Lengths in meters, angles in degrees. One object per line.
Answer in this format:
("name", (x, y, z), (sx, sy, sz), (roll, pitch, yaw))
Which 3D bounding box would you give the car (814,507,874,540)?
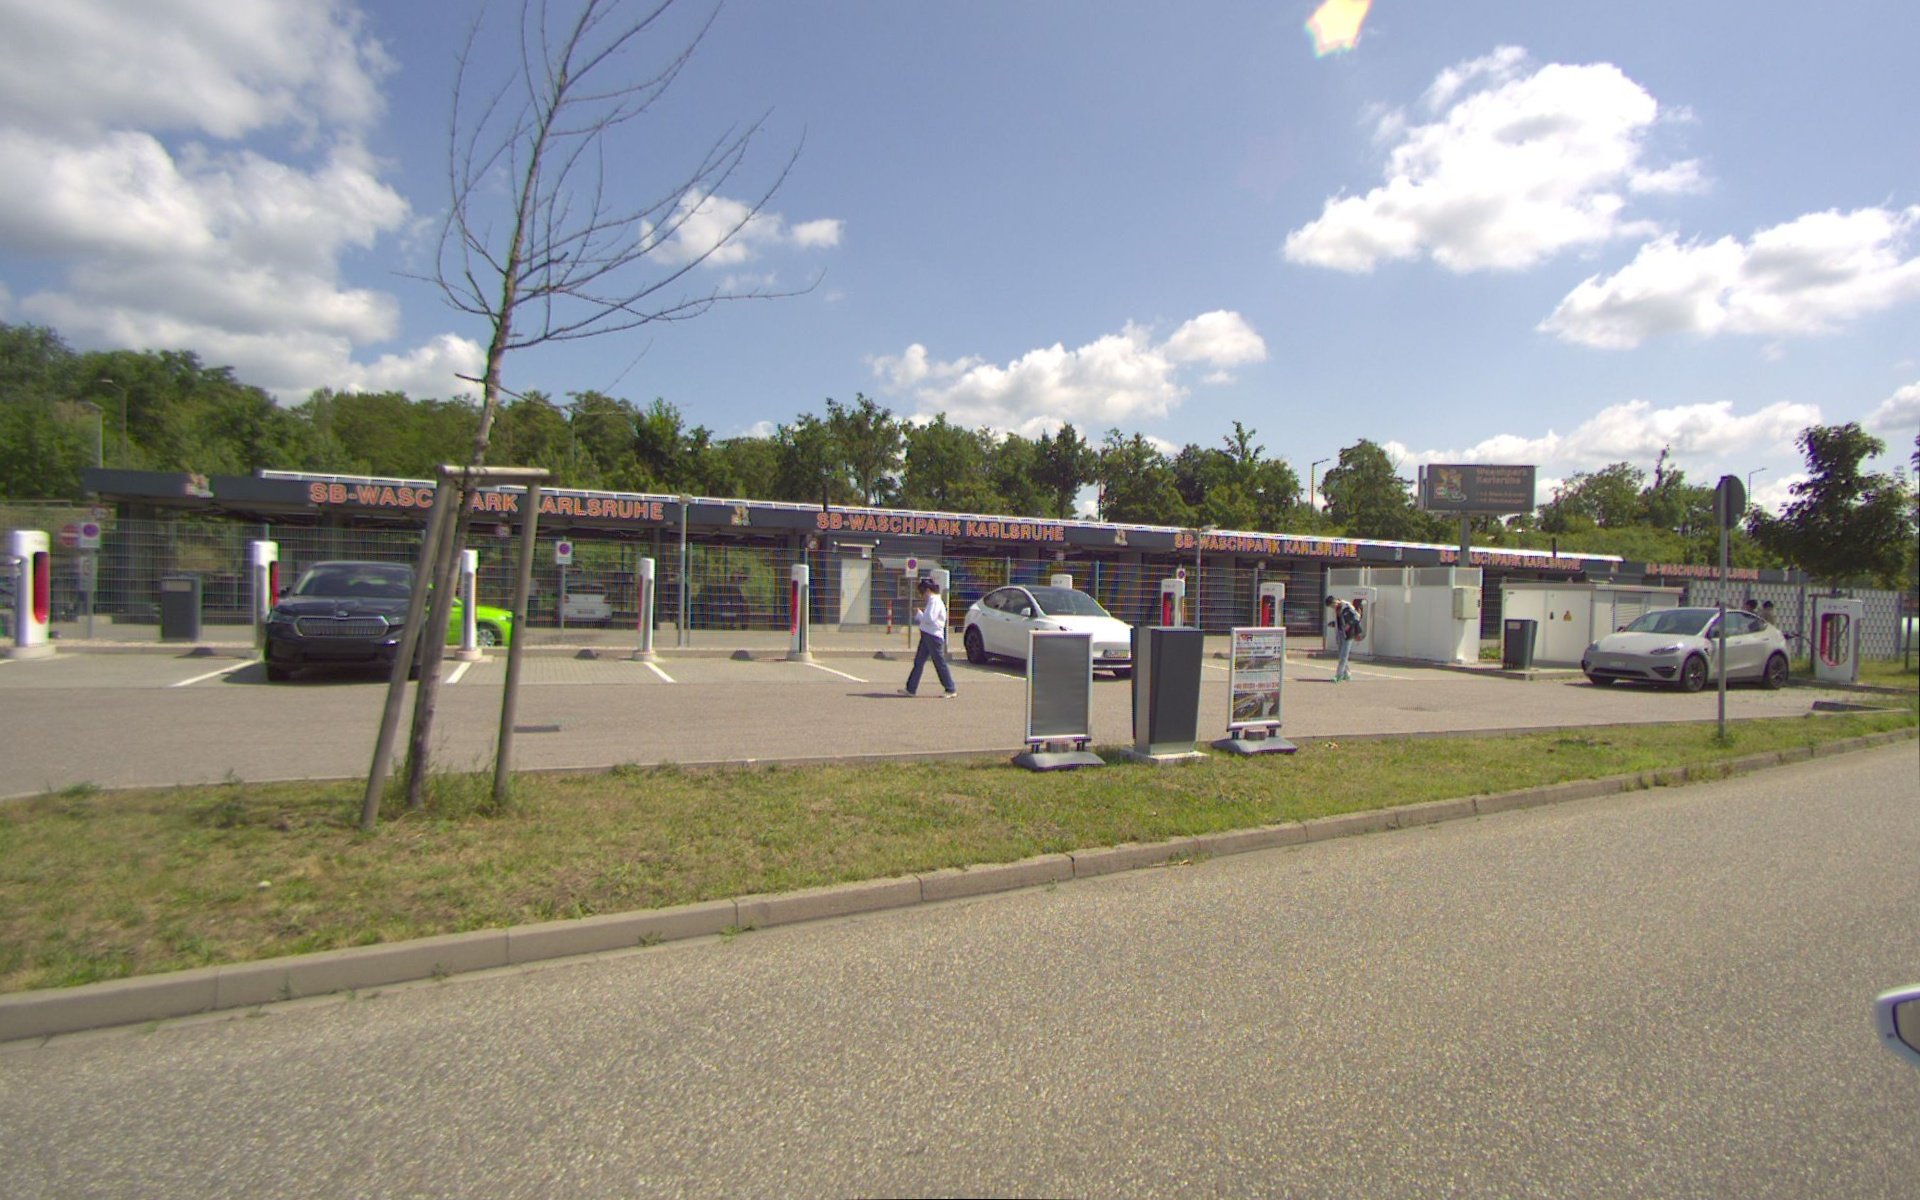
("car", (-8.547, -5.623, 73.951), (3.950, 2.040, 1.986), (2, 0, -28))

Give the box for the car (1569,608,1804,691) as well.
("car", (14.987, 0.960, 20.697), (4.711, 1.538, 1.924), (1, 0, -26))

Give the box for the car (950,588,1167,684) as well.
("car", (1.728, 0.601, 19.342), (1.975, 1.545, 4.533), (2, 1, -28))

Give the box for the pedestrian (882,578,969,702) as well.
("pedestrian", (-0.498, 0.545, 14.226), (0.929, 1.675, 0.859), (1, 1, -28))

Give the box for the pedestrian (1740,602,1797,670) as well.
("pedestrian", (18.976, 0.836, 23.585), (0.804, 1.562, 0.736), (2, 0, -23))

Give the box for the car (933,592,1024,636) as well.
("car", (0.654, 0.501, 38.786), (1.973, 1.583, 3.974), (2, 0, -25))

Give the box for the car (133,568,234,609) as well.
("car", (-30.886, -0.435, 40.088), (1.859, 1.525, 3.985), (2, 0, -17))

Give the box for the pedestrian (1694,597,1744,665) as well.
("pedestrian", (18.092, 0.732, 23.960), (0.699, 1.586, 0.759), (2, 0, 15))

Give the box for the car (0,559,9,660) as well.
("car", (-14.014, 0.172, 12.295), (2.209, 1.475, 4.726), (1, 1, -28))

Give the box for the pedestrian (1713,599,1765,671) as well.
("pedestrian", (17.929, 0.795, 23.121), (0.707, 1.600, 0.714), (2, 0, 18))

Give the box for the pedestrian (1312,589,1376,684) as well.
("pedestrian", (7.418, 0.696, 19.424), (0.719, 1.775, 0.858), (1, 1, -30))

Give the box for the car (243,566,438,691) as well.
("car", (-8.758, 0.330, 14.548), (1.974, 1.539, 3.973), (2, 1, -26))

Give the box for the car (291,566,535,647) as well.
("car", (-11.164, 0.137, 20.884), (4.238, 1.502, 1.912), (2, 1, -23))

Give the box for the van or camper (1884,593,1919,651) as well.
("van or camper", (44.569, 1.004, 46.794), (2.164, 2.547, 5.669), (-1, -2, 43))

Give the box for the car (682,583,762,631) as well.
("car", (-8.497, 0.229, 35.599), (1.973, 1.583, 3.974), (2, 0, -25))

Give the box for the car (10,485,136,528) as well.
("car", (-43.463, -4.549, 49.367), (4.327, 1.673, 1.982), (2, 0, -32))

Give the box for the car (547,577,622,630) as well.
("car", (-12.498, 0.106, 33.283), (1.973, 1.583, 3.974), (2, 0, -25))

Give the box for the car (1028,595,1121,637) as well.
("car", (4.627, 0.624, 41.126), (1.973, 1.583, 3.974), (2, 0, -25))
